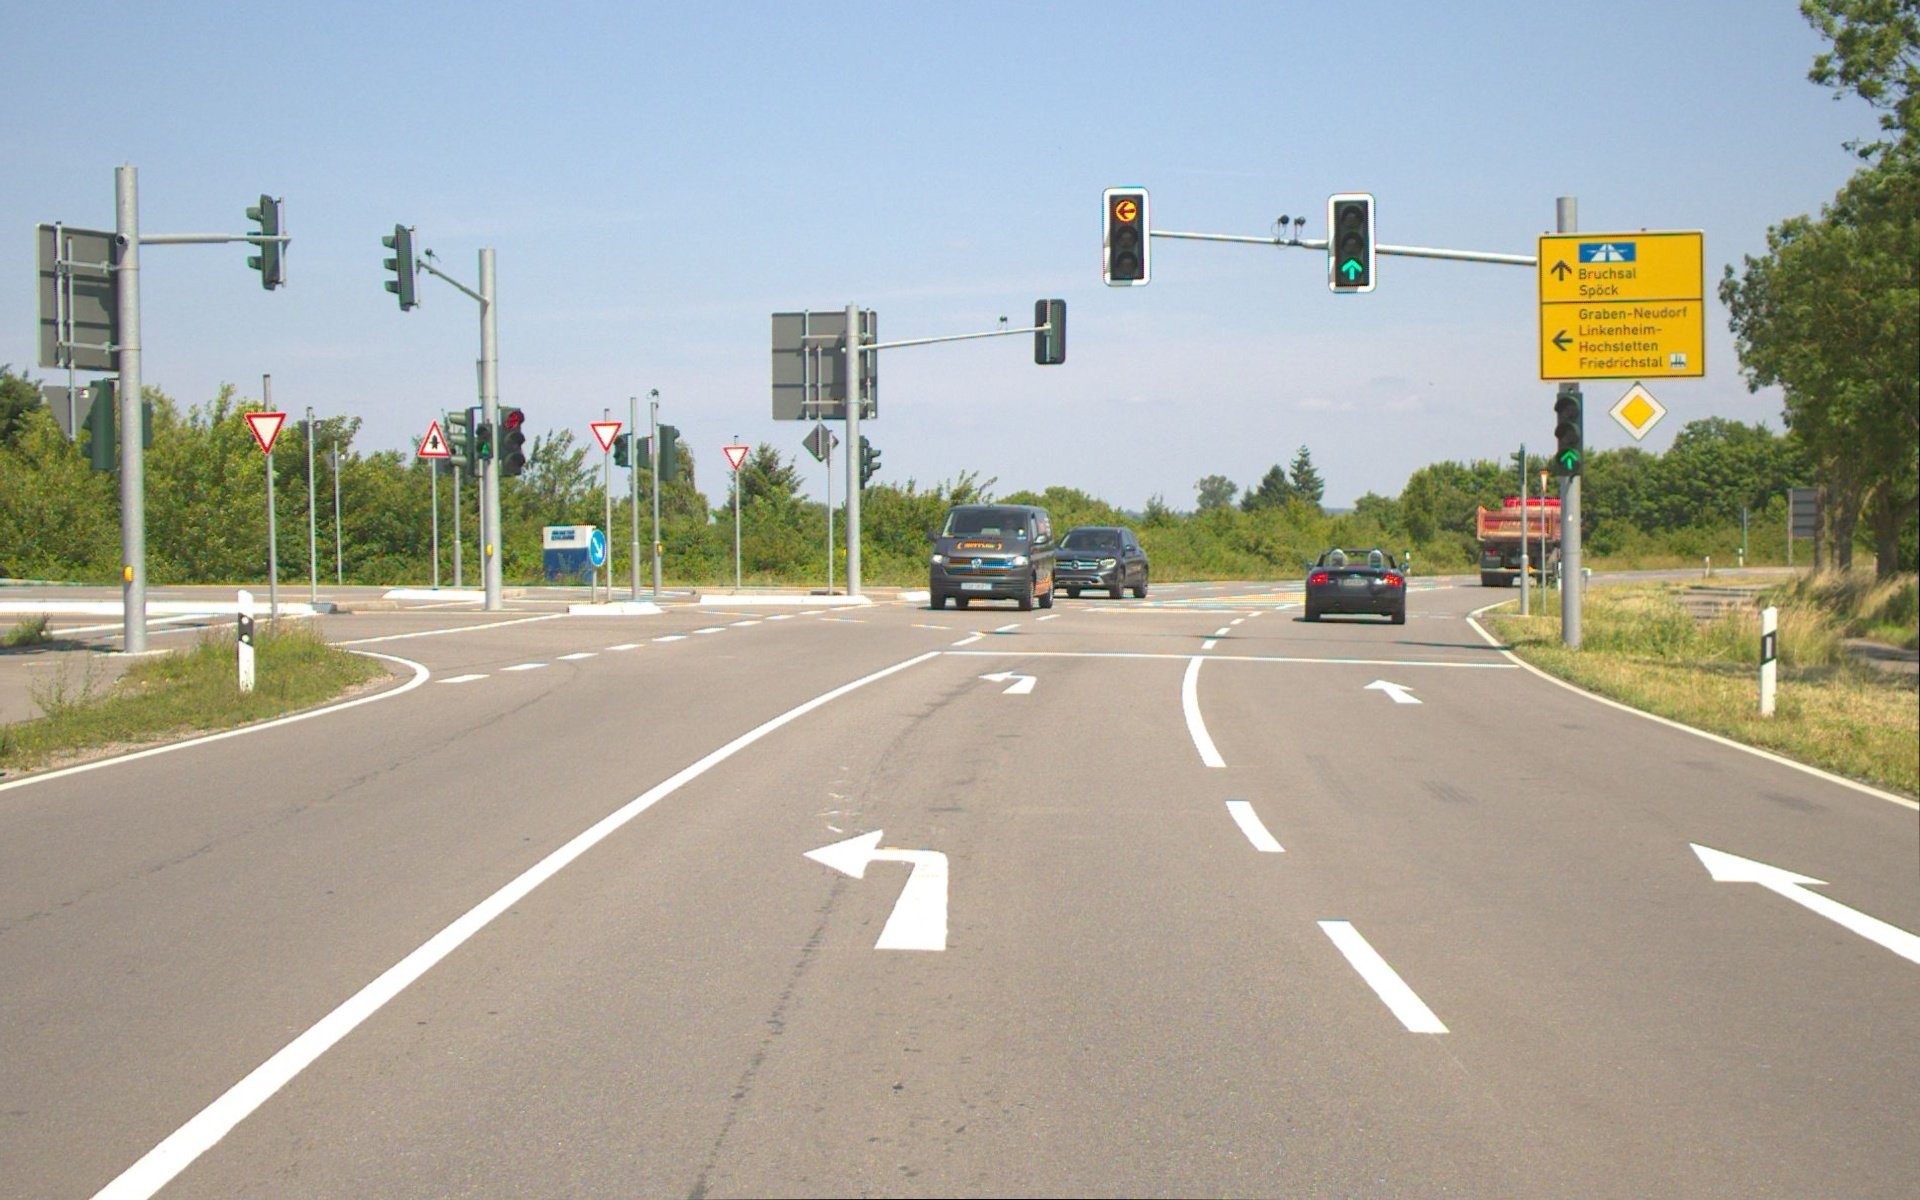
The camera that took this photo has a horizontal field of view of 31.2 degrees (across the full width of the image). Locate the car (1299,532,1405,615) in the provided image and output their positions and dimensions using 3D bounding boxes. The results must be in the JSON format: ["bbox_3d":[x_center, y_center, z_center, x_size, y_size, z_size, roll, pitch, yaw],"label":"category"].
[{"bbox_3d":[6.928,-0.447,60.512,1.748,1.371,3.678,1,0,8],"label":"car"}]

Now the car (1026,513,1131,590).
[{"bbox_3d":[2.781,-1.152,79.873,1.931,1.733,4.888,1,1,8],"label":"car"}]

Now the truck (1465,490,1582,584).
[{"bbox_3d":[19.166,-2.083,116.522,2.716,3.042,8.157,0,0,18],"label":"truck"}]

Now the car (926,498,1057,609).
[{"bbox_3d":[0.634,-0.894,64.284,1.931,1.971,4.683,1,1,7],"label":"car"}]
